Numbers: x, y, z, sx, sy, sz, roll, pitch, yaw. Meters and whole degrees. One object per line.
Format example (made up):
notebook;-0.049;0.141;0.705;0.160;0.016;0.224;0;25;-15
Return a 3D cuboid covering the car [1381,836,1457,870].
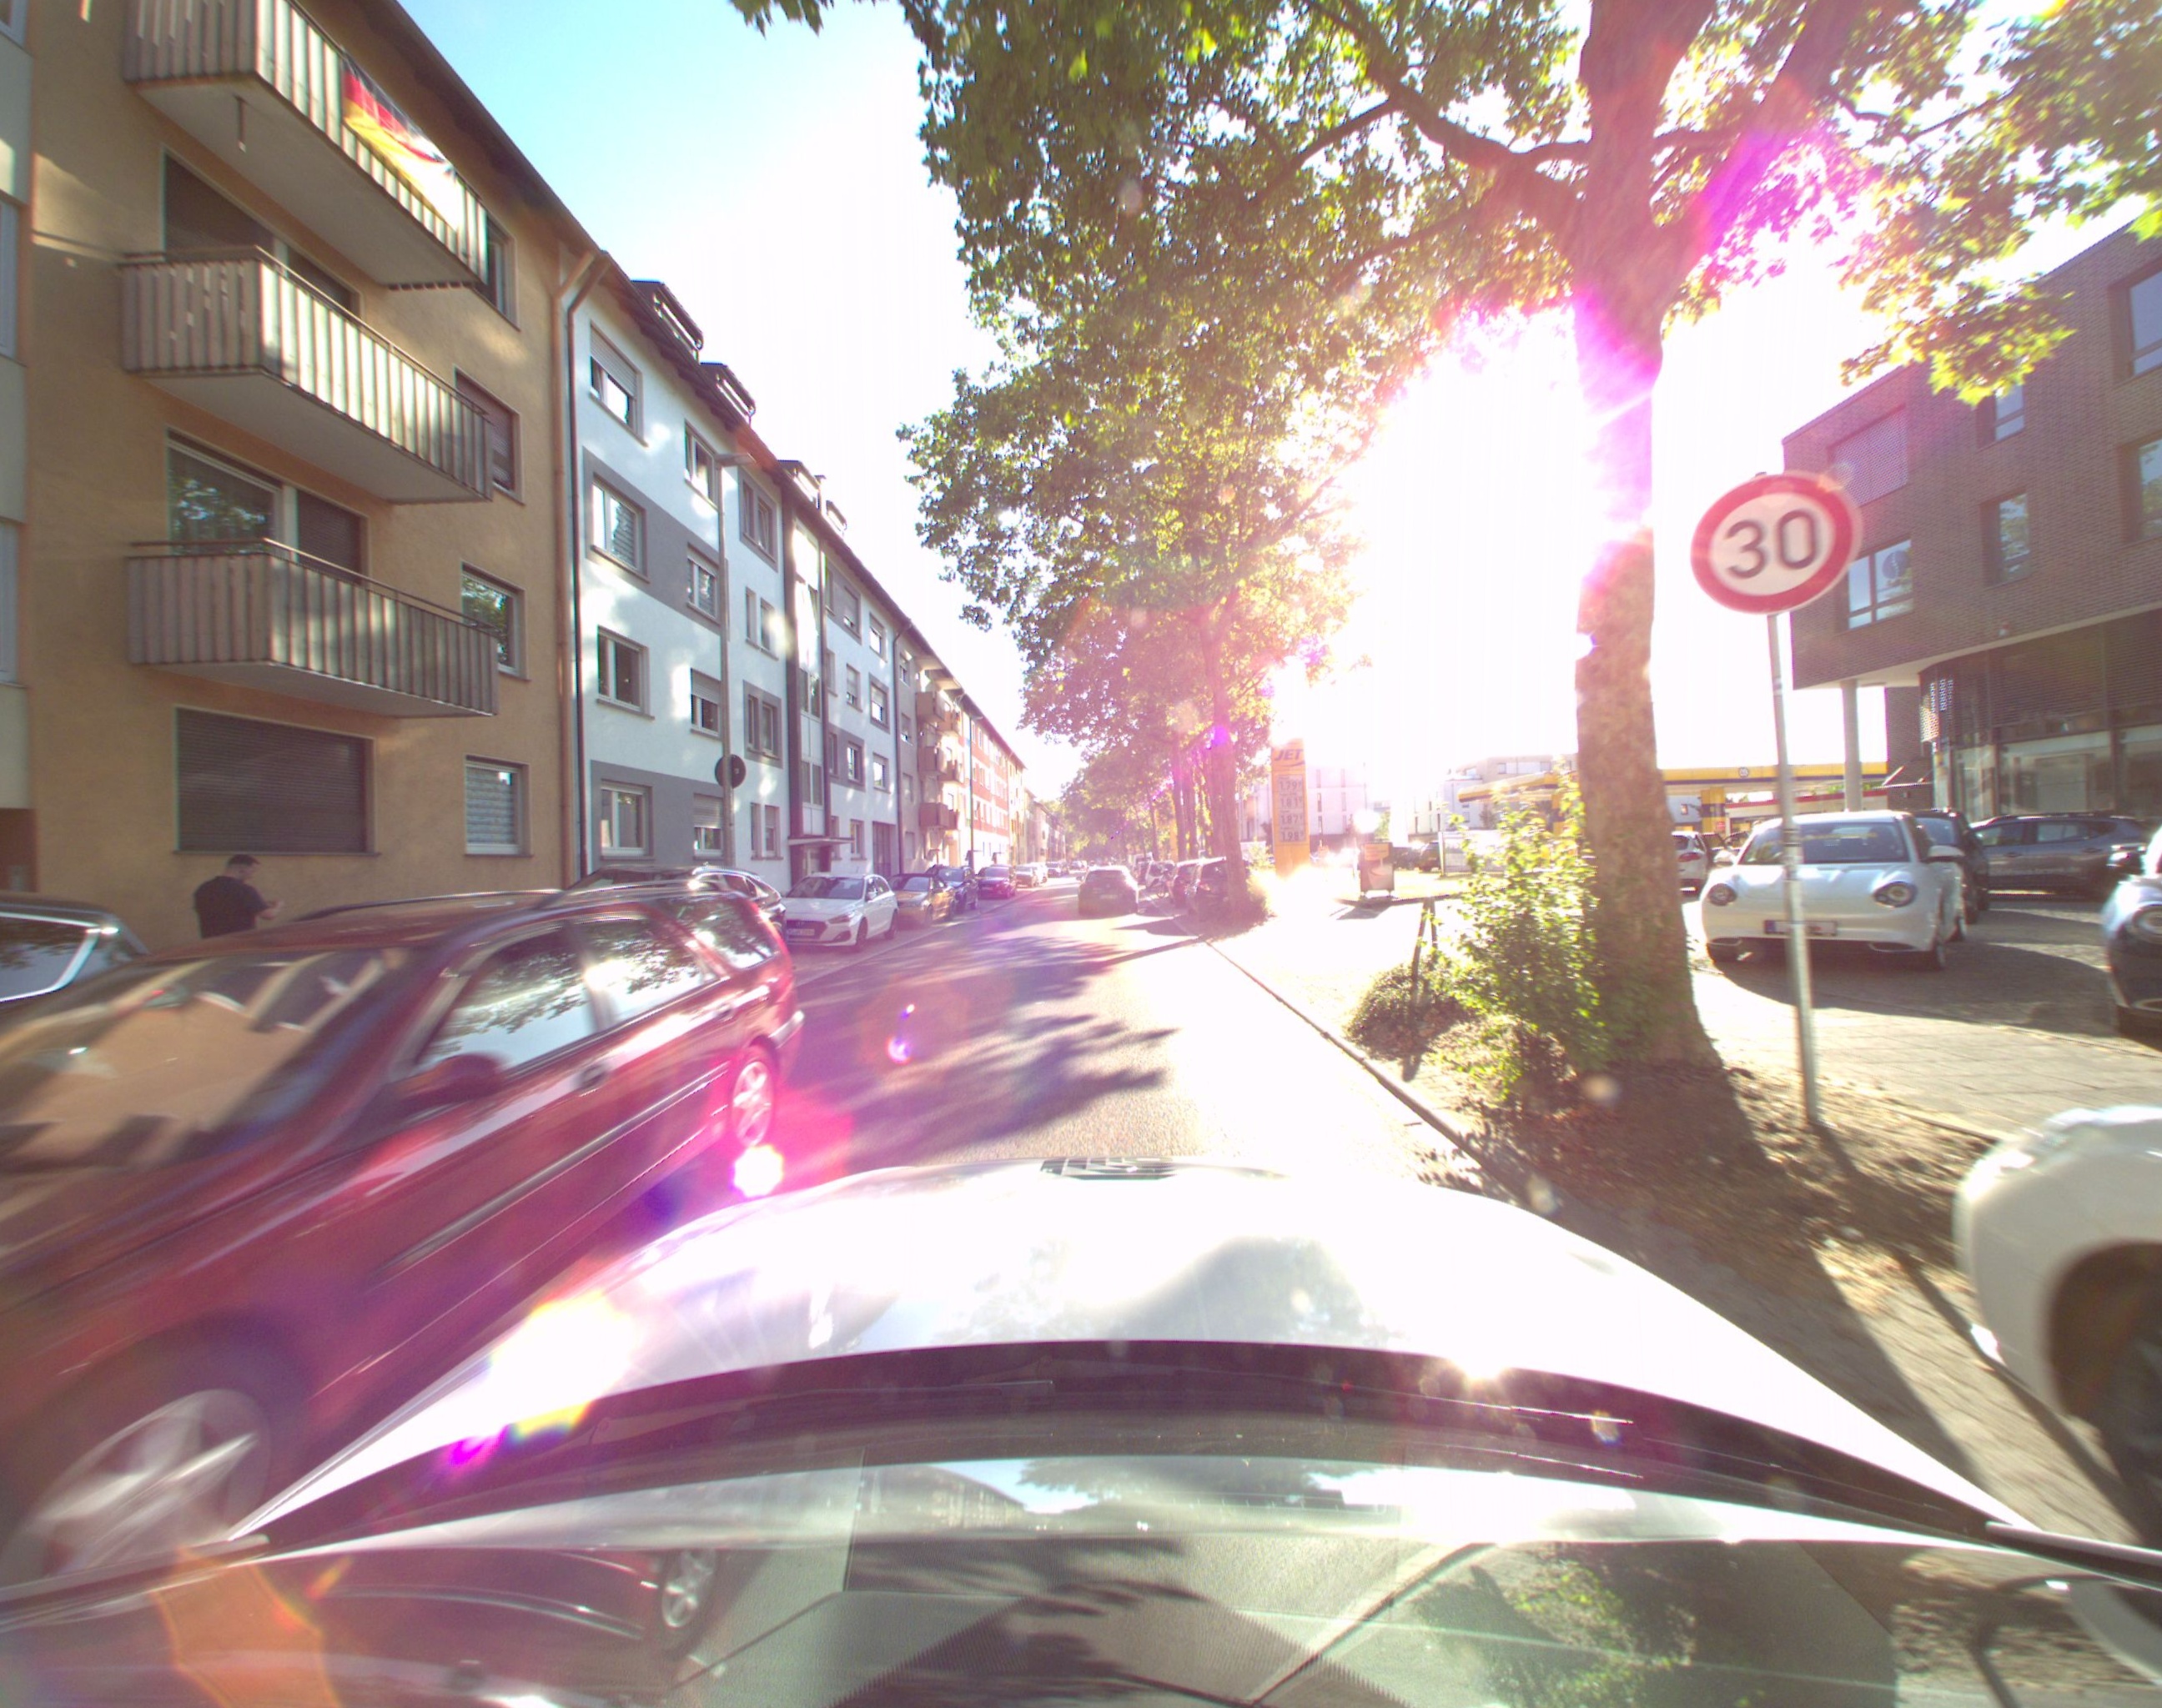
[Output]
car;19.196;-0.078;46.257;3.845;1.712;1.825;-3;-1;-26

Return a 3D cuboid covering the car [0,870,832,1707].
car;-2.541;0.903;3.002;1.657;1.523;4.414;-3;0;2

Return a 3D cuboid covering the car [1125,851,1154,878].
car;4.678;0.897;65.711;1.988;2.014;3.997;-1;-2;-1

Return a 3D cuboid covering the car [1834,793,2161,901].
car;17.083;-0.069;15.350;1.875;1.752;3.954;-2;-1;-38

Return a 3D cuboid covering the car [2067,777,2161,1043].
car;8.259;0.231;5.502;3.836;1.578;1.722;-3;0;-36

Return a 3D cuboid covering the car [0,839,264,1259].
car;-5.498;0.829;2.292;1.739;1.787;4.550;0;0;1

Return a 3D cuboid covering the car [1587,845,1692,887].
car;18.638;0.397;27.158;3.578;1.323;1.672;0;-2;-34

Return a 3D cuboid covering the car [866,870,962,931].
car;-4.458;1.203;22.348;1.590;1.434;4.219;0;0;2

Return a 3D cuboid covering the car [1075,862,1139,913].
car;0.880;0.991;25.433;1.736;1.443;3.974;0;0;5

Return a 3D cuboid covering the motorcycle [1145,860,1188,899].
motorcycle;3.493;1.045;33.325;1.647;1.557;0.607;0;-1;-20

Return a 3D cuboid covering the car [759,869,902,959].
car;-4.860;1.094;16.372;1.542;1.524;4.005;0;0;1

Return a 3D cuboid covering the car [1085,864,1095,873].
car;1.777;2.921;158.625;1.895;1.661;4.000;-1;-2;1

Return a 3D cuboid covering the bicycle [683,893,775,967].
bicycle;-5.992;1.268;13.956;0.552;1.086;1.718;-2;0;10

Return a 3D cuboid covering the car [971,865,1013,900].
car;-4.161;1.312;38.657;1.708;1.464;3.793;2;0;-3

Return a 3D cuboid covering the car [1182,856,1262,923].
car;3.601;0.879;21.323;1.554;1.596;3.601;0;-1;1

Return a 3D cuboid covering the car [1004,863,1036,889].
car;-4.029;1.435;54.441;1.706;1.562;3.803;2;0;2

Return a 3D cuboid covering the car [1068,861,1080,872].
car;-1.301;2.356;149.972;1.900;1.948;4.000;-1;-2;1

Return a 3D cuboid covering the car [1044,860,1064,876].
car;-2.790;1.387;84.182;1.706;1.562;3.803;2;0;2

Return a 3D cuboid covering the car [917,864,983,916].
car;-4.505;1.191;28.405;1.591;1.630;3.838;0;0;1

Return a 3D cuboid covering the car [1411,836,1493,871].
car;18.952;-0.040;41.642;3.845;1.588;1.684;-3;-1;-26

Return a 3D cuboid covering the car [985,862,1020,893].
car;-4.343;1.287;45.396;1.708;1.562;3.793;2;0;-3

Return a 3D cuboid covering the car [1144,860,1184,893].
car;4.081;1.089;40.545;1.716;1.557;3.601;0;-1;1

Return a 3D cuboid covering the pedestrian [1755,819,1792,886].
pedestrian;17.562;-0.038;20.654;0.652;1.678;0.550;-2;-1;-40

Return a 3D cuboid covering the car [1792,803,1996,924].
car;12.745;0.104;12.690;4.164;1.602;1.752;-2;-1;-39

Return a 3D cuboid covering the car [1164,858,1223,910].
car;3.686;0.959;27.147;1.554;1.596;3.601;0;-1;1

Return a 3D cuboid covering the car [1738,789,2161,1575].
car;2.894;0.561;0.213;1.803;1.539;4.586;-5;-1;3

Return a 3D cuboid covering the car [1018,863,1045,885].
car;-3.787;1.509;62.777;1.706;1.562;3.803;2;0;2

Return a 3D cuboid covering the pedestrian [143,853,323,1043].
pedestrian;-8.394;0.885;8.111;0.763;1.769;0.933;0;-1;1

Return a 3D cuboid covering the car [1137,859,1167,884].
car;4.557;1.128;52.602;1.627;1.557;3.601;0;-1;1

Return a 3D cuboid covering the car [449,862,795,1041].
car;-5.068;0.932;9.819;1.591;1.641;4.413;0;0;1

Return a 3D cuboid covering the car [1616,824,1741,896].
car;16.151;0.124;21.938;2.134;1.719;4.024;-3;-1;43

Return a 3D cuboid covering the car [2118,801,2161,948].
car;13.144;0.125;9.068;3.834;1.511;1.626;-3;0;-34

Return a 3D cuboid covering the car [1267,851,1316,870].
car;18.850;0.580;73.080;3.974;1.529;1.807;-1;-2;0

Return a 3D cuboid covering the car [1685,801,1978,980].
car;8.452;0.272;9.078;3.838;1.578;1.727;-3;0;-37
